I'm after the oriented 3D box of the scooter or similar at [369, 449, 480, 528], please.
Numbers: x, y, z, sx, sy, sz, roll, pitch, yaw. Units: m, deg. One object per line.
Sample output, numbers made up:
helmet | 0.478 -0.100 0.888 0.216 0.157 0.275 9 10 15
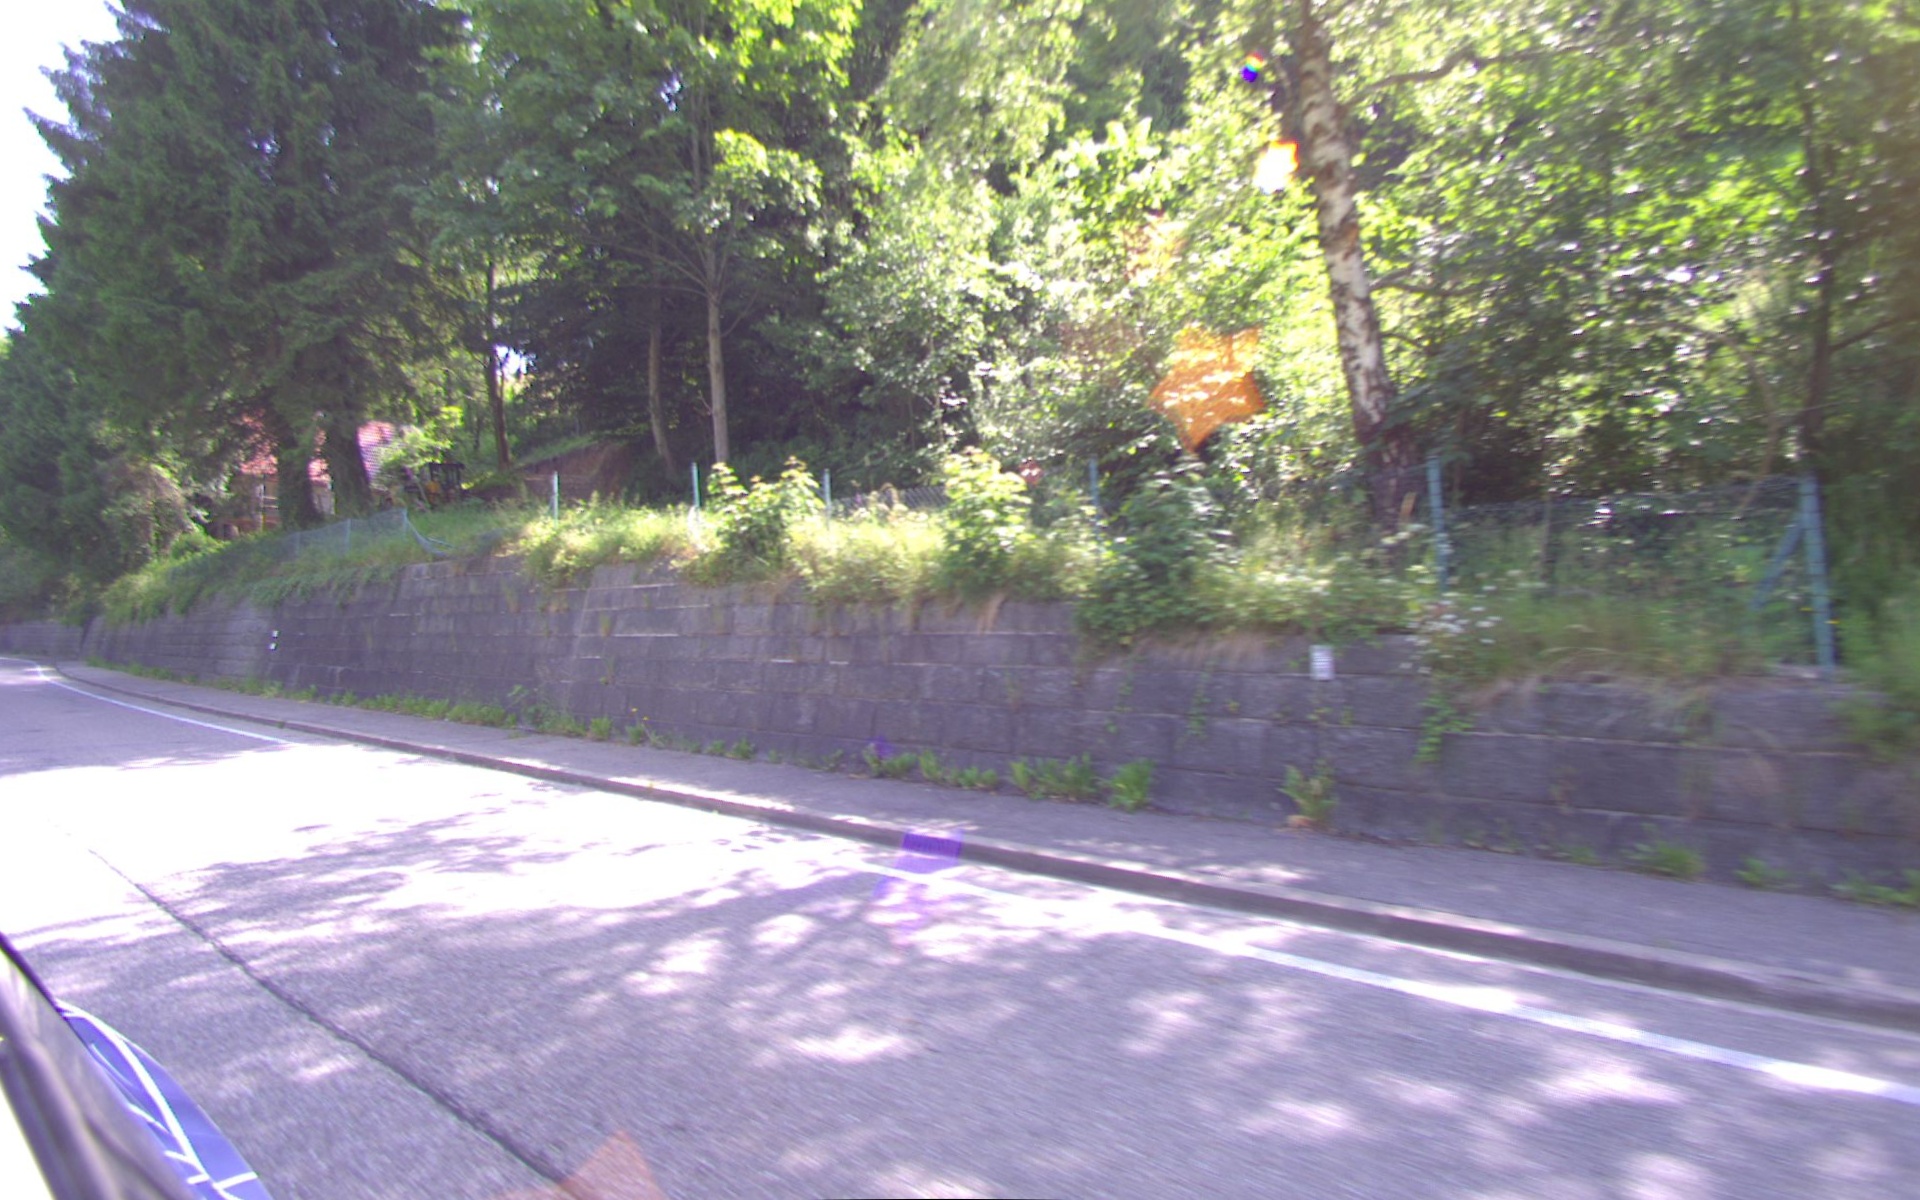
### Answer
scooter or similar | -17.276 -3.521 32.549 1.955 2.041 4.409 -5 2 -43
